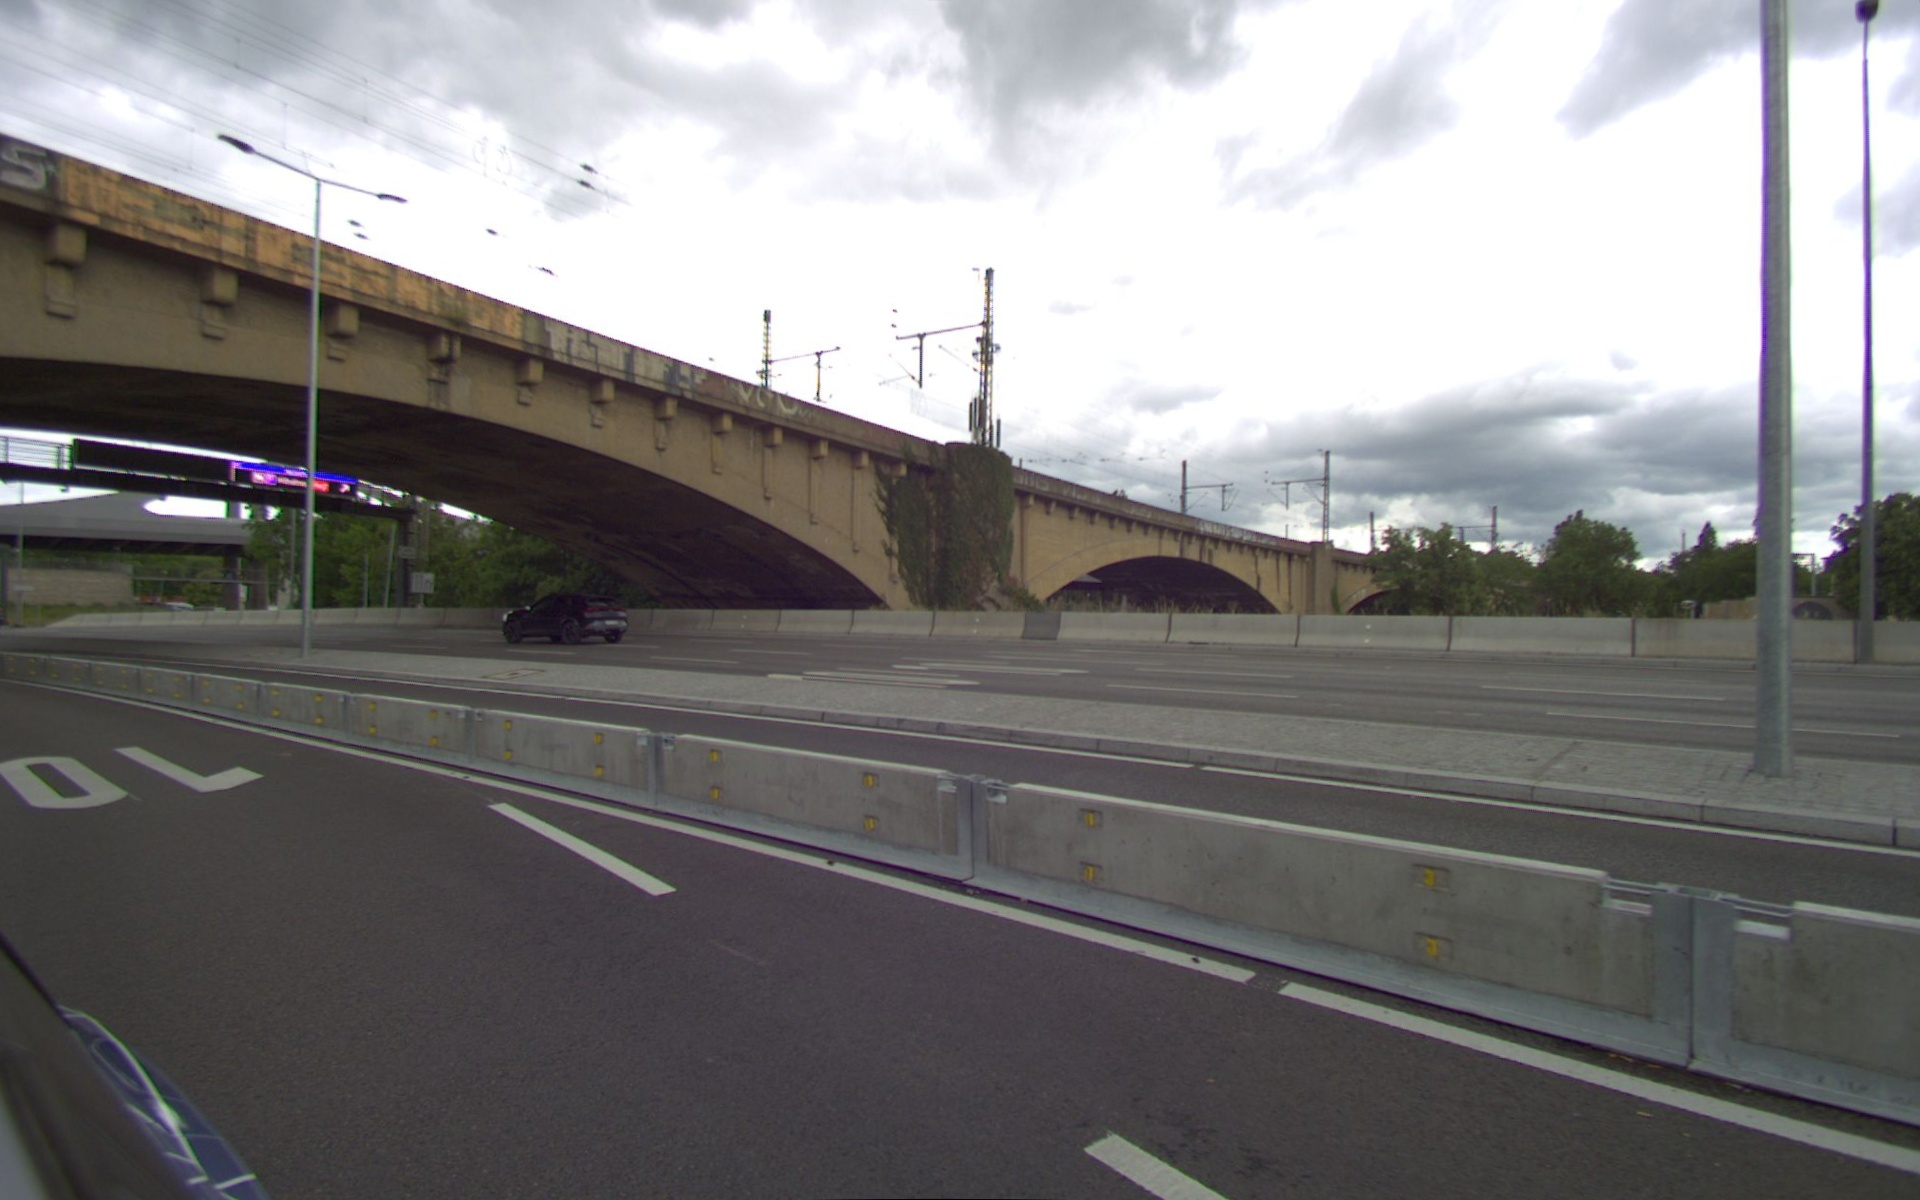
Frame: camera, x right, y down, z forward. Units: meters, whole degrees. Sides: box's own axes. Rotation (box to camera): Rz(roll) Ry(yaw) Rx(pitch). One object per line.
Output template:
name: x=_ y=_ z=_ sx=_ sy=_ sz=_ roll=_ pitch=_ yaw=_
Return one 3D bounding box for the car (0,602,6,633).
car: x=-50.115 y=0.907 z=50.877 sx=4.379 sy=1.548 sz=1.807 roll=0 pitch=0 yaw=27

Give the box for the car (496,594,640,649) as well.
car: x=-12.016 y=0.672 z=31.022 sx=4.118 sy=1.597 sz=1.980 roll=-1 pitch=-1 yaw=29
